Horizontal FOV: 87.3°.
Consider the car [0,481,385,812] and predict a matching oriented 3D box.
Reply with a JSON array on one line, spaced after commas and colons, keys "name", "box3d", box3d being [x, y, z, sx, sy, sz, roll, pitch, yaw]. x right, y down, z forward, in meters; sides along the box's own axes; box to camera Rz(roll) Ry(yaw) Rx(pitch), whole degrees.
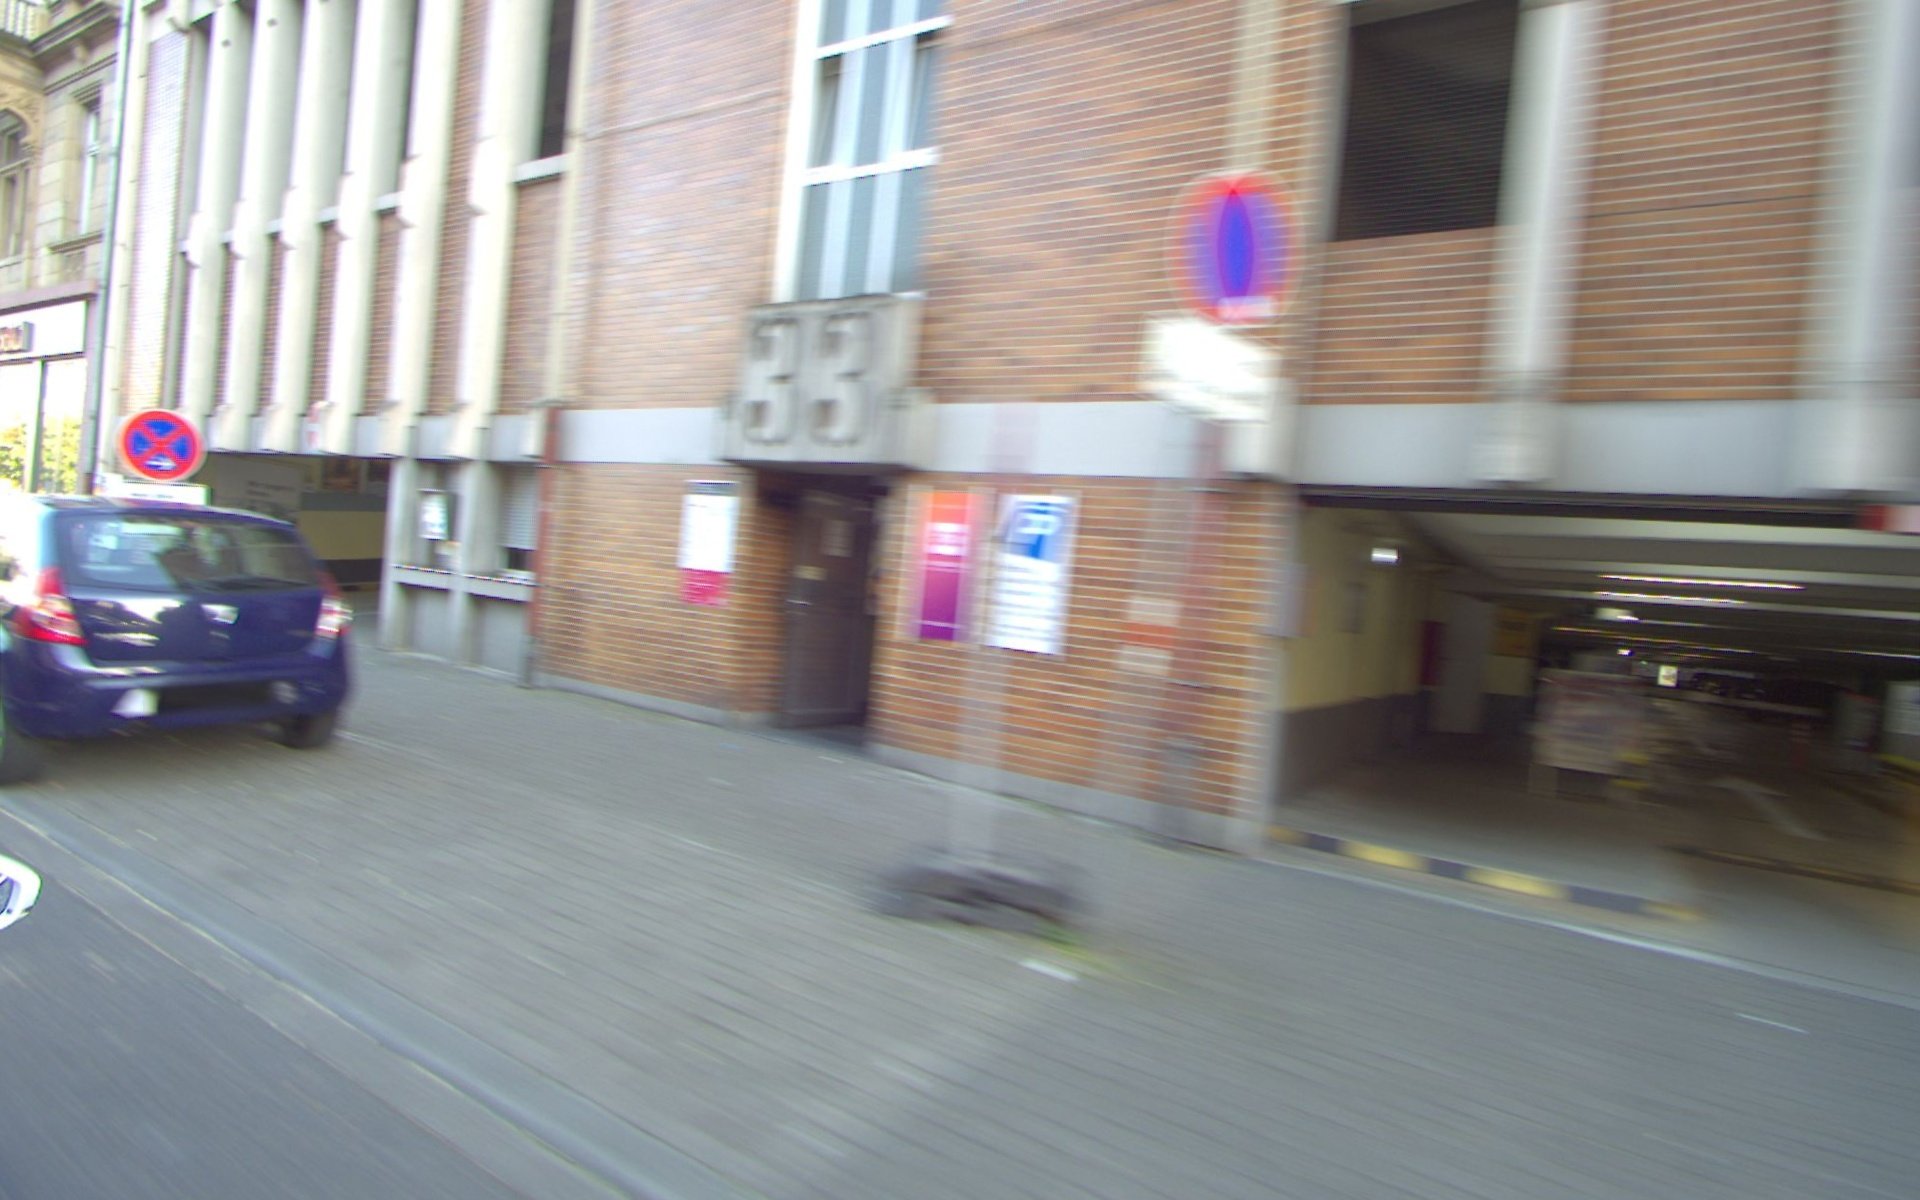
[{"name": "car", "box3d": [-5.676, 0.057, 6.538, 3.935, 1.558, 1.757, 6, 4, 33]}]

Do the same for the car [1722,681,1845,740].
[{"name": "car", "box3d": [27.171, 3.640, 33.205, 3.244, 1.465, 1.666, 8, -2, -20]}]

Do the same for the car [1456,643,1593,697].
[{"name": "car", "box3d": [20.539, 2.531, 36.756, 1.657, 1.465, 3.964, 8, -2, -34]}]

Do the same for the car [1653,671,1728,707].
[{"name": "car", "box3d": [39.357, 4.798, 54.236, 3.244, 1.465, 1.666, 8, -2, -20]}]

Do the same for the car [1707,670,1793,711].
[{"name": "car", "box3d": [37.652, 4.324, 47.956, 3.244, 1.465, 1.666, 8, -2, -20]}]

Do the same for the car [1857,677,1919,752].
[{"name": "car", "box3d": [21.660, 2.637, 21.128, 3.939, 1.465, 1.668, 6, -2, 36]}]
